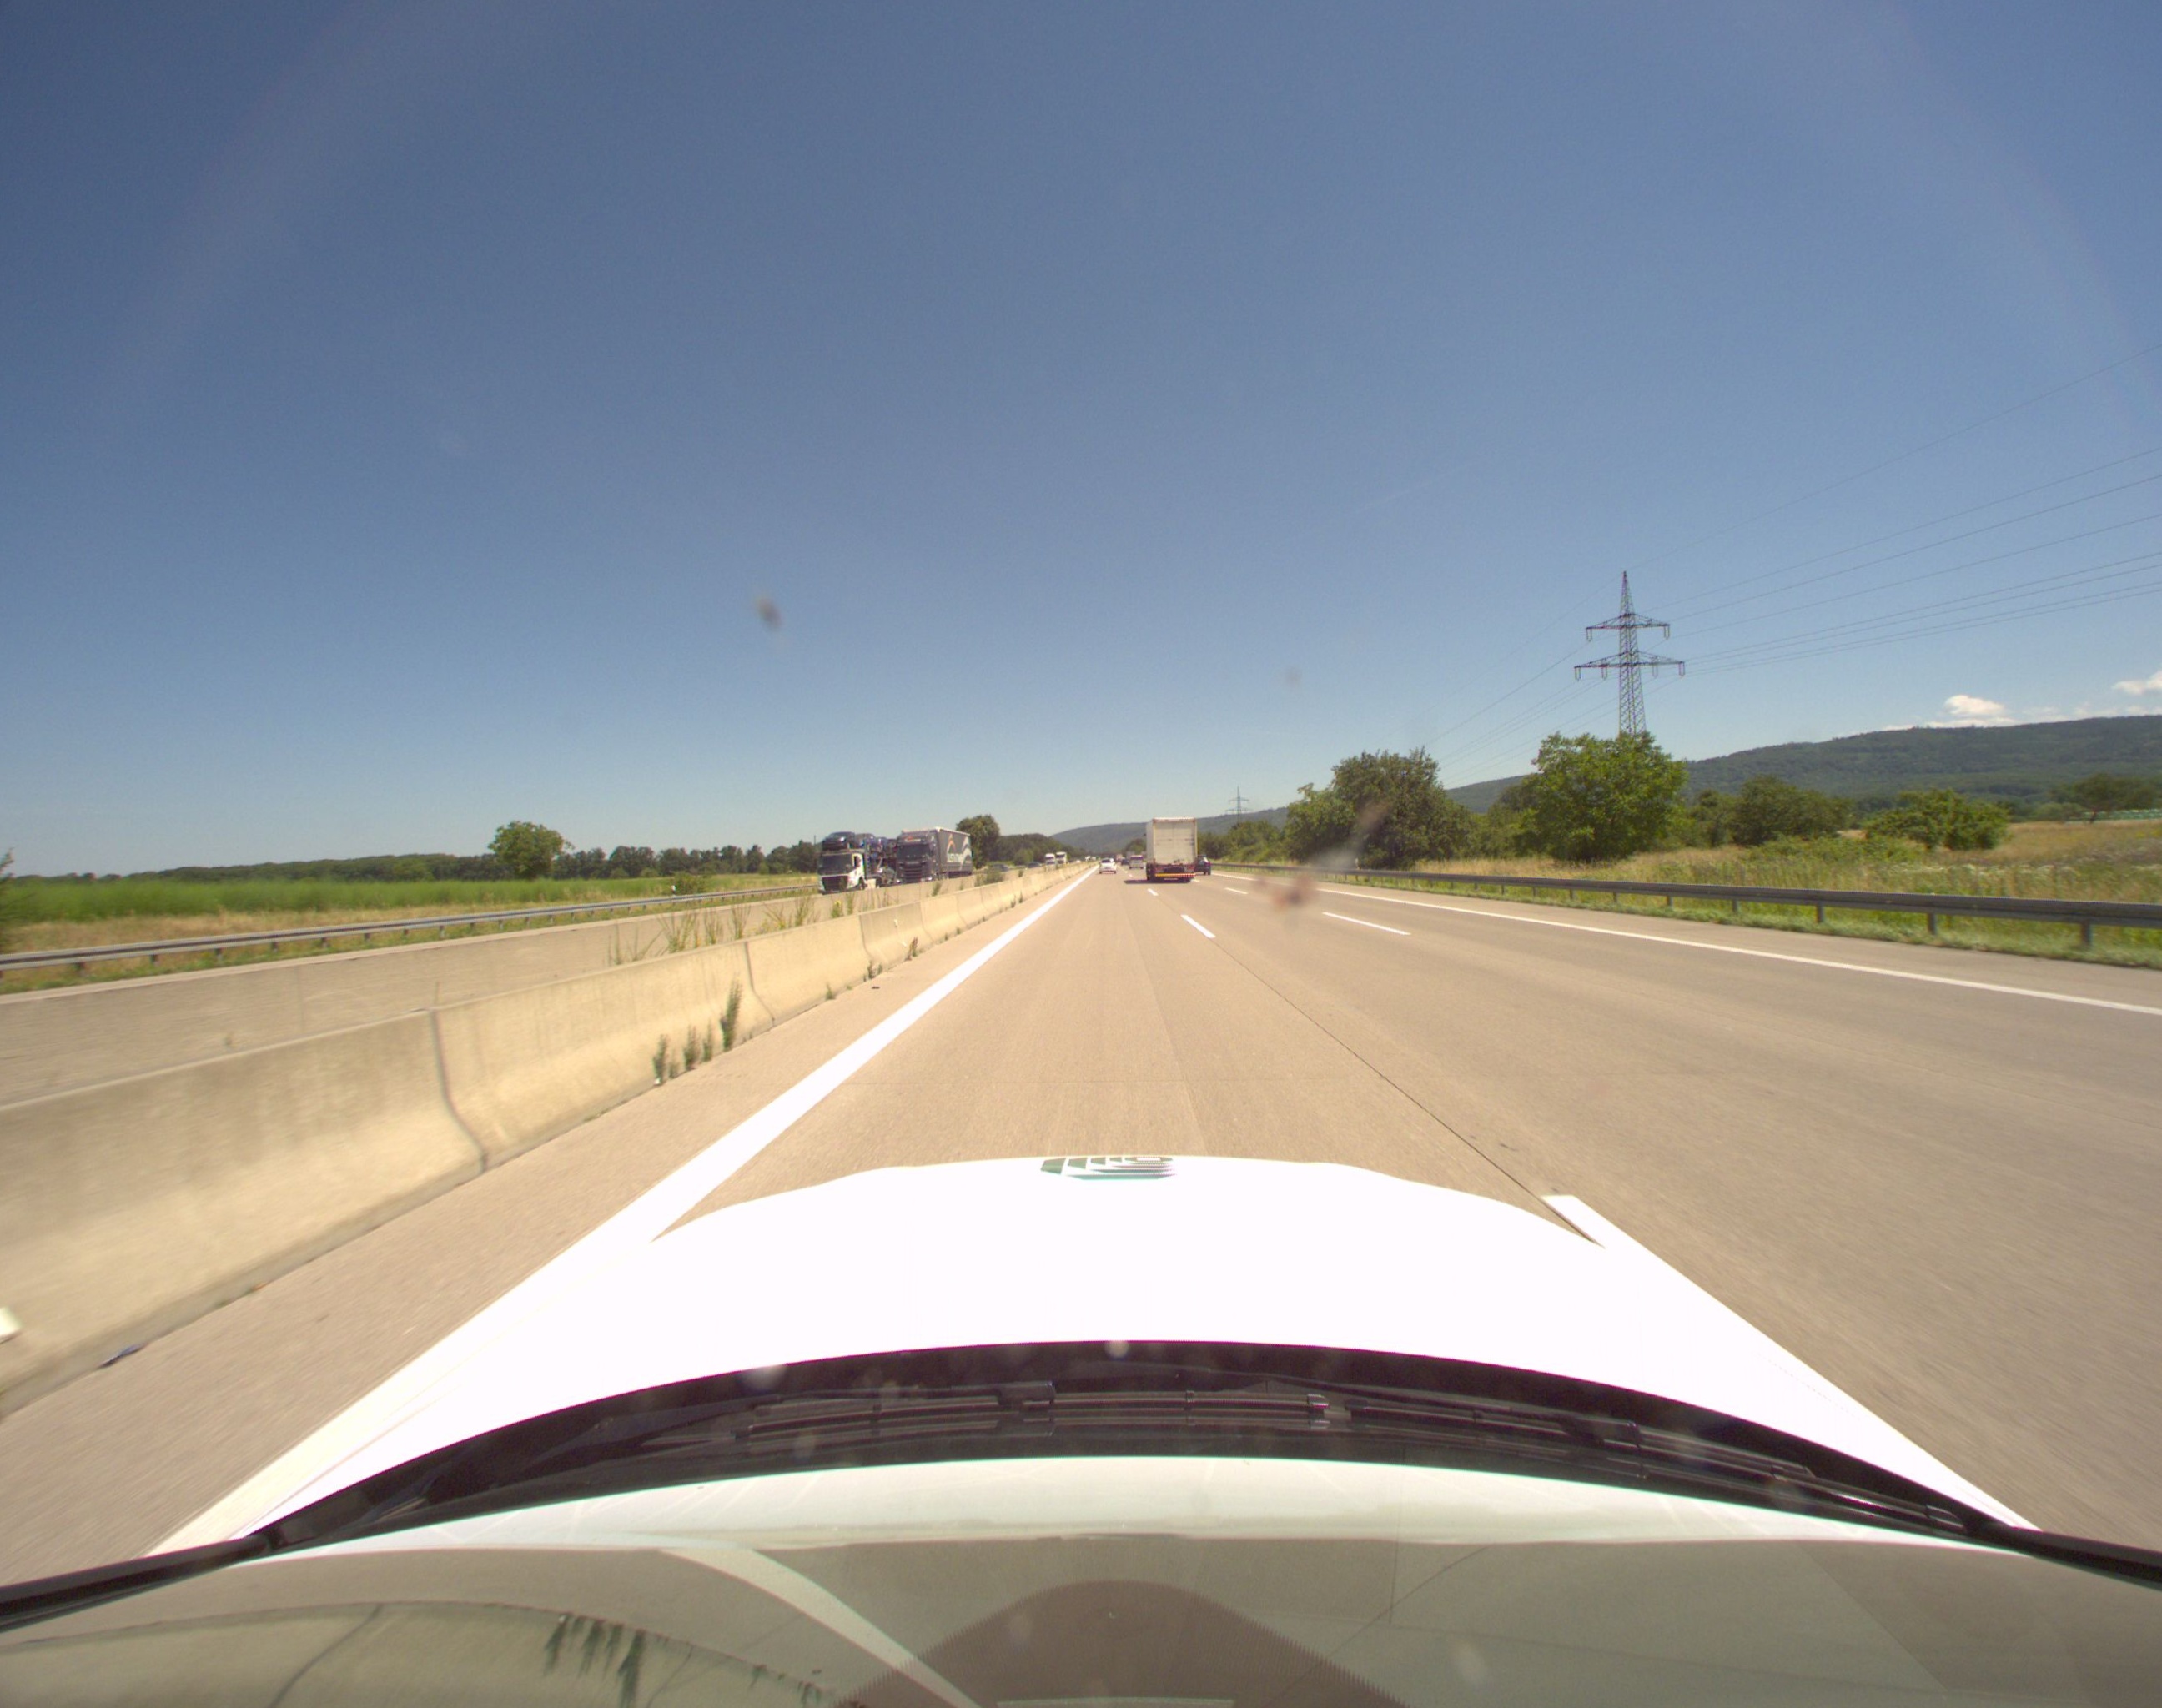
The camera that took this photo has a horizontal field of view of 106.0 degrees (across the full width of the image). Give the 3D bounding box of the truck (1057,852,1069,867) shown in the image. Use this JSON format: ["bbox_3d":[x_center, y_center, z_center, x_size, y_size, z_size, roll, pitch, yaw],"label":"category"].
[{"bbox_3d":[-4.856,1.540,219.778,2.890,3.970,5.047,0,-1,1],"label":"truck"}]

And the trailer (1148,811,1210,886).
[{"bbox_3d":[5.522,-0.233,47.536,2.571,3.878,10.375,0,0,1],"label":"trailer"}]

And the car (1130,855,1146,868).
[{"bbox_3d":[7.920,1.028,113.343,1.986,1.849,4.001,0,0,1],"label":"car"}]

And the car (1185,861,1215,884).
[{"bbox_3d":[10.103,1.535,69.277,1.986,1.849,4.001,1,0,1],"label":"car"}]

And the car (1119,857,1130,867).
[{"bbox_3d":[9.057,1.652,168.753,1.987,1.849,4.000,1,0,0],"label":"car"}]

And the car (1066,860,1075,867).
[{"bbox_3d":[-2.424,2.277,194.612,1.855,1.729,4.145,0,0,4],"label":"car"}]

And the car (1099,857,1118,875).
[{"bbox_3d":[2.701,1.178,81.806,1.813,1.662,4.000,-1,0,1],"label":"car"}]

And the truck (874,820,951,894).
[{"bbox_3d":[-11.099,0.233,54.505,3.255,4.476,7.193,-3,-1,2],"label":"truck"}]

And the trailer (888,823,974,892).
[{"bbox_3d":[-10.965,0.279,61.720,3.255,4.476,14.456,-3,0,2],"label":"trailer"}]

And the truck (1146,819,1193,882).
[{"bbox_3d":[5.647,-0.199,52.698,2.572,3.878,4.985,0,-1,1],"label":"truck"}]

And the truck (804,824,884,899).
[{"bbox_3d":[-15.484,0.486,53.691,3.219,4.606,6.253,0,-1,2],"label":"truck"}]

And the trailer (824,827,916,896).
[{"bbox_3d":[-15.302,0.530,60.374,3.219,4.606,12.298,0,0,2],"label":"trailer"}]
